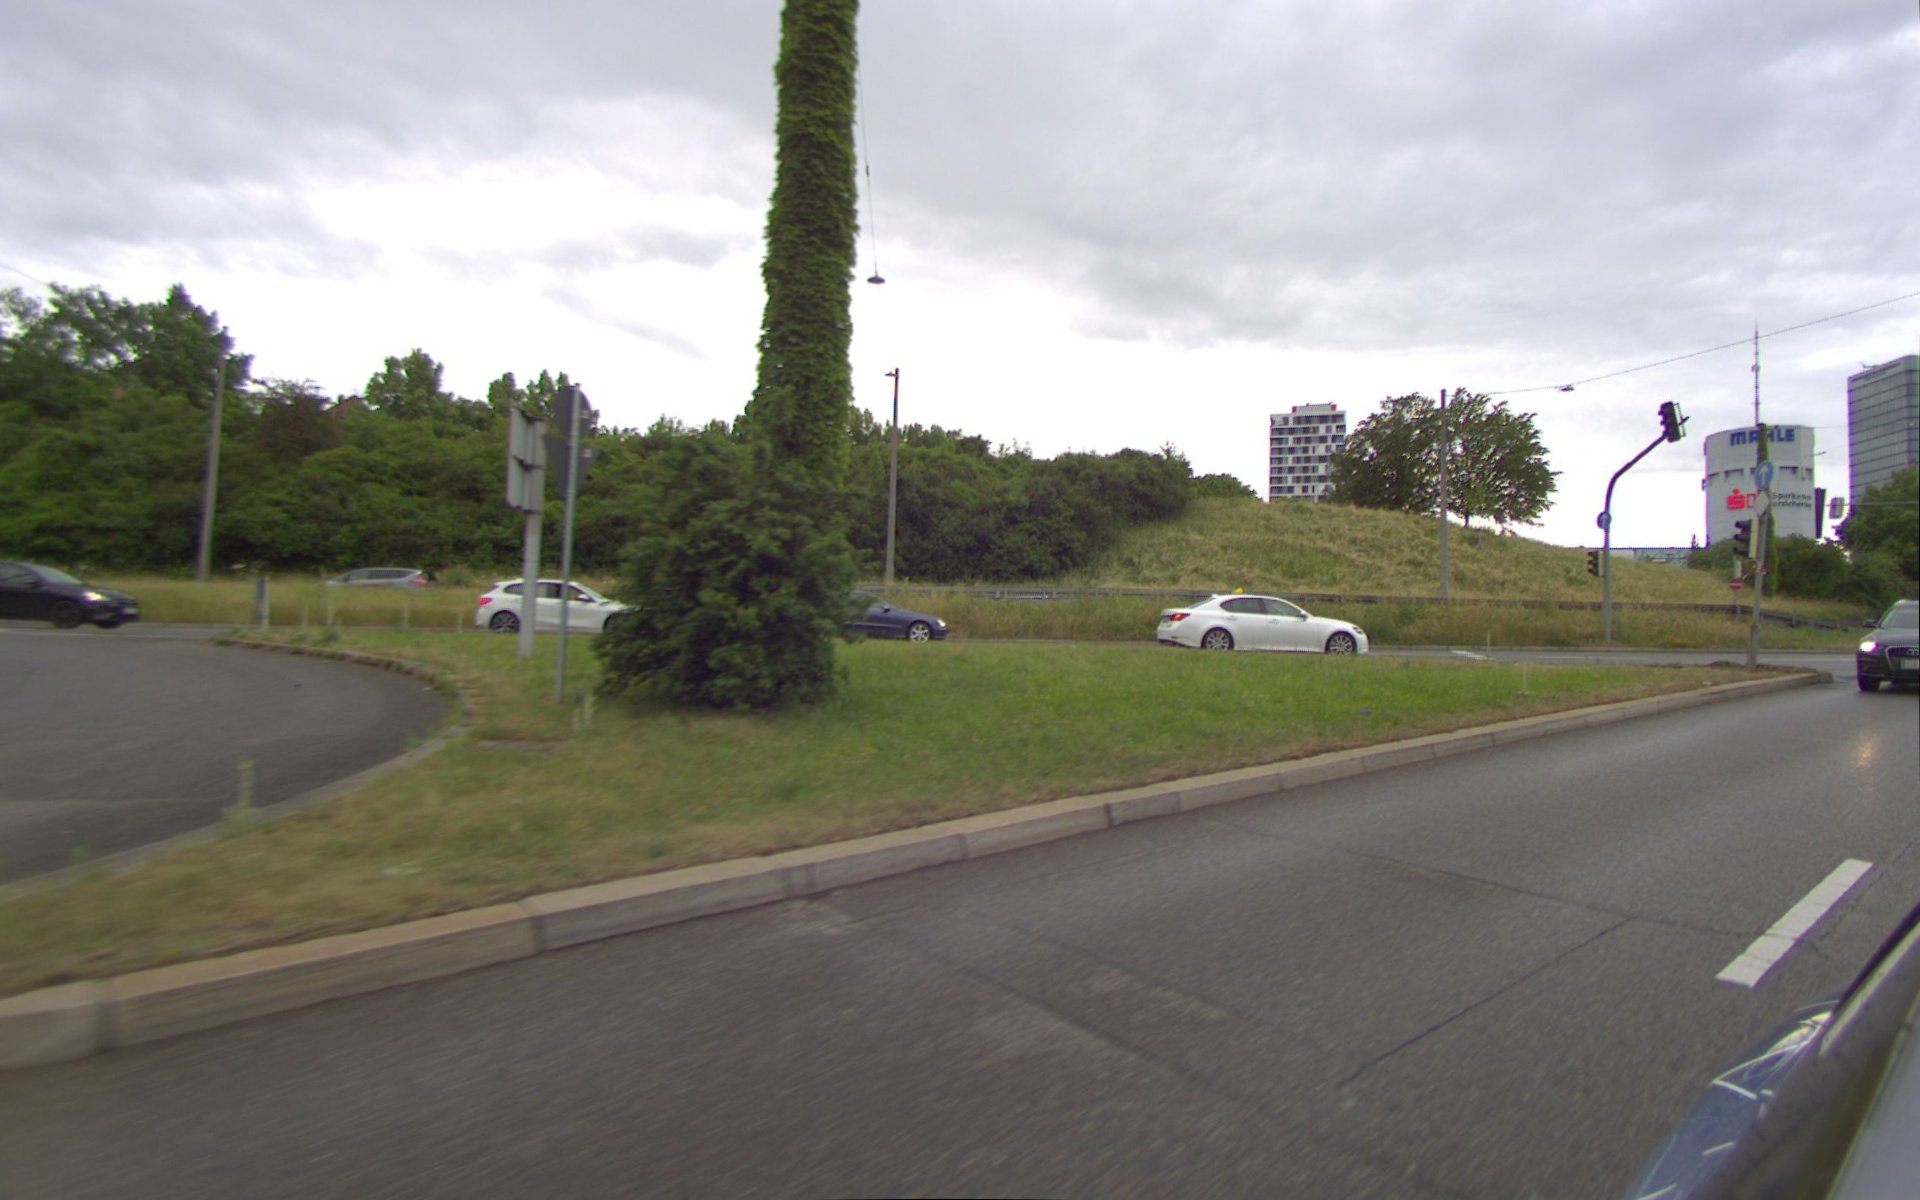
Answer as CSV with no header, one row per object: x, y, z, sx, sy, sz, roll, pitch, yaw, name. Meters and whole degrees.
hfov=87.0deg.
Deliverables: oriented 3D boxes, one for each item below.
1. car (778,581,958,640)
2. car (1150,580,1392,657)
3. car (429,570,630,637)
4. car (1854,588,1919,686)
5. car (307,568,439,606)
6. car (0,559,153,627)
-2.390,0.276,26.259,4.462,1.368,1.845,2,-1,-6,car
7.063,0.404,23.376,4.894,1.666,2.075,0,0,-1,car
-10.521,0.102,25.074,4.183,1.447,2.078,2,-1,-11,car
17.604,0.623,17.875,4.200,1.621,1.928,0,-1,-37,car
-23.091,-0.493,39.938,4.142,1.367,1.785,-1,-2,-6,car
-20.462,-0.147,22.297,3.835,1.432,1.678,1,-1,-13,car
